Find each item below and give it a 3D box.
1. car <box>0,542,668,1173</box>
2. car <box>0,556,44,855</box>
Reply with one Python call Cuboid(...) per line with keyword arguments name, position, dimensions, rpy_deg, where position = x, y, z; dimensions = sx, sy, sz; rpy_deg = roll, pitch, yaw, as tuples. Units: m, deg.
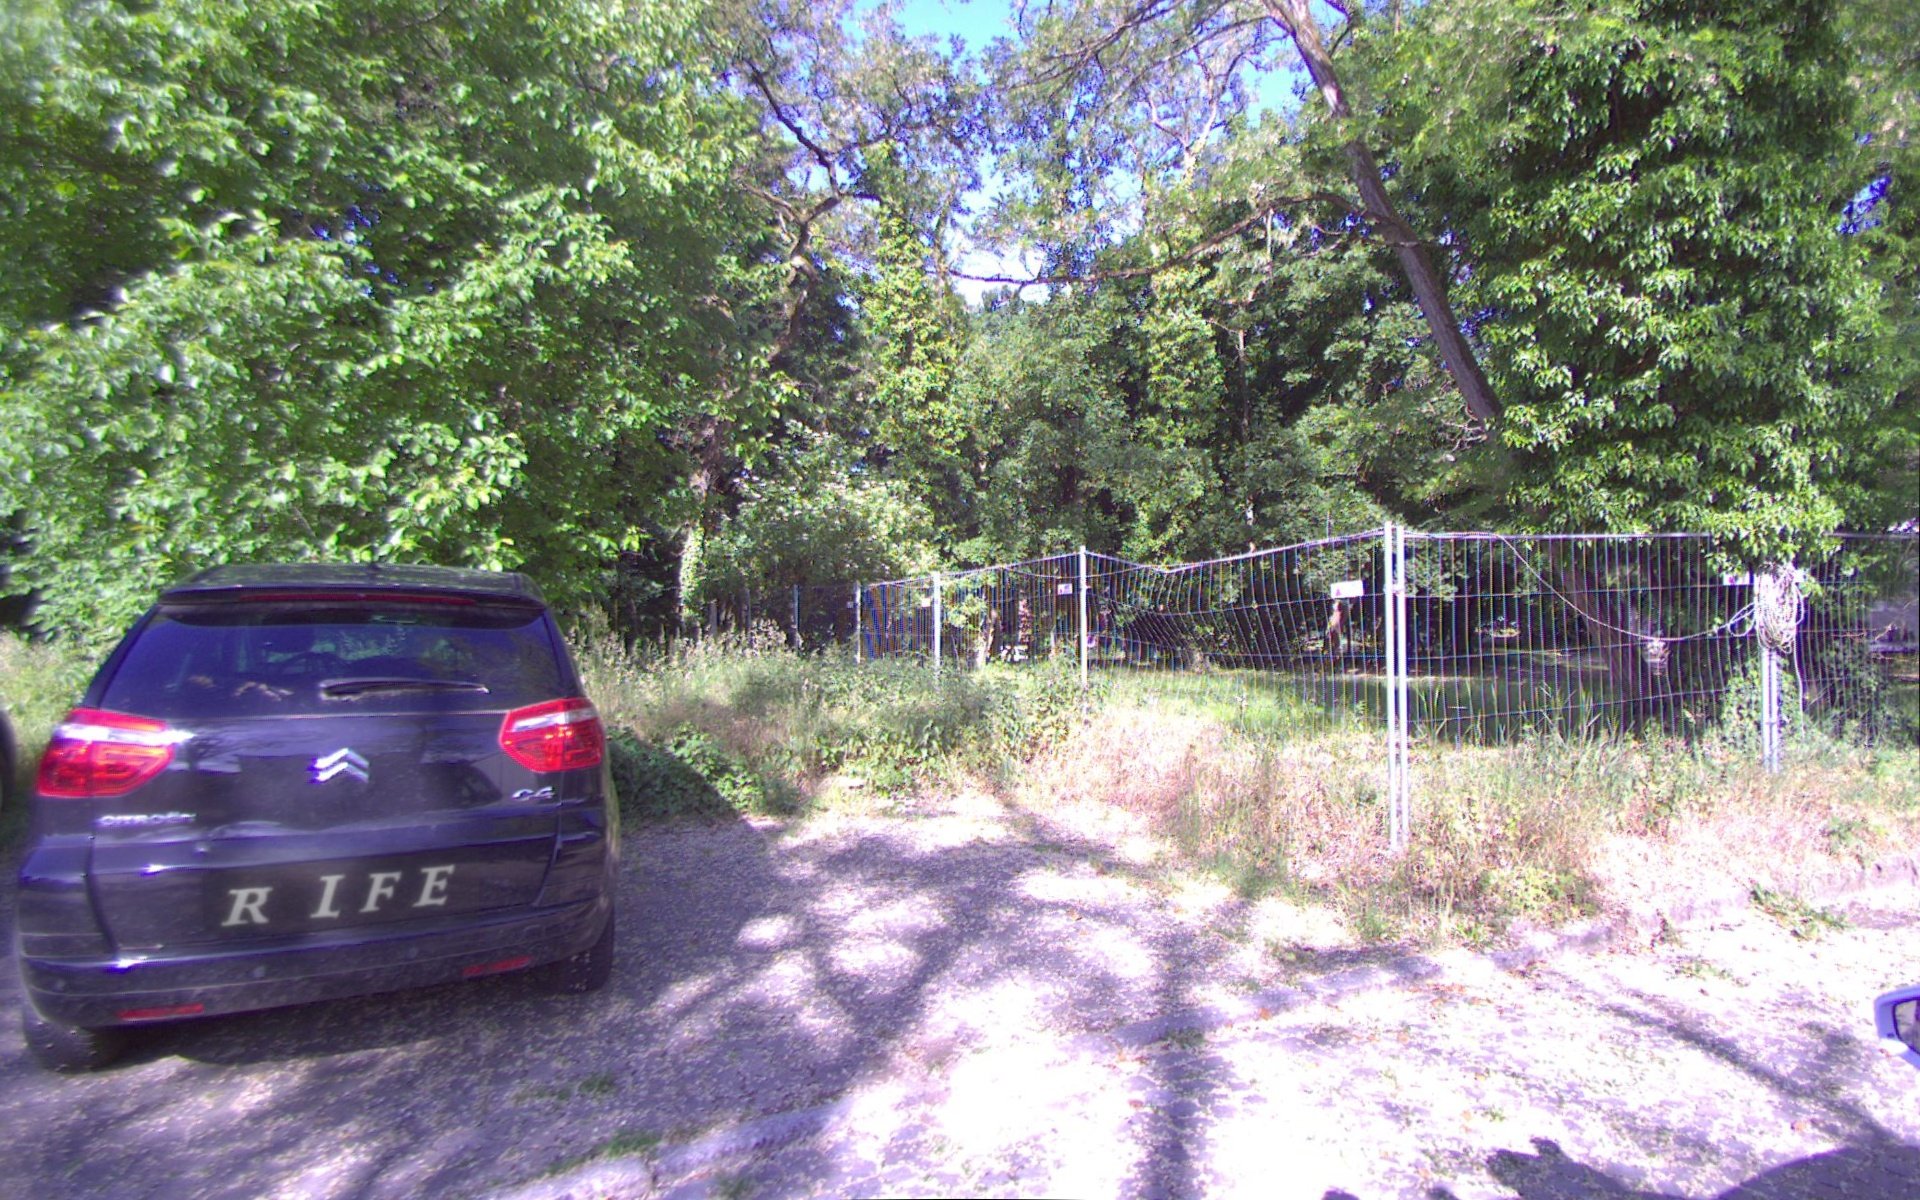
Cuboid(name="car", position=(-2.707, 0.649, 4.945), dimensions=(1.769, 1.674, 4.272), rpy_deg=(1, 1, -25))
Cuboid(name="car", position=(-5.617, 0.599, 3.842), dimensions=(1.792, 1.678, 4.167), rpy_deg=(1, 0, -23))
